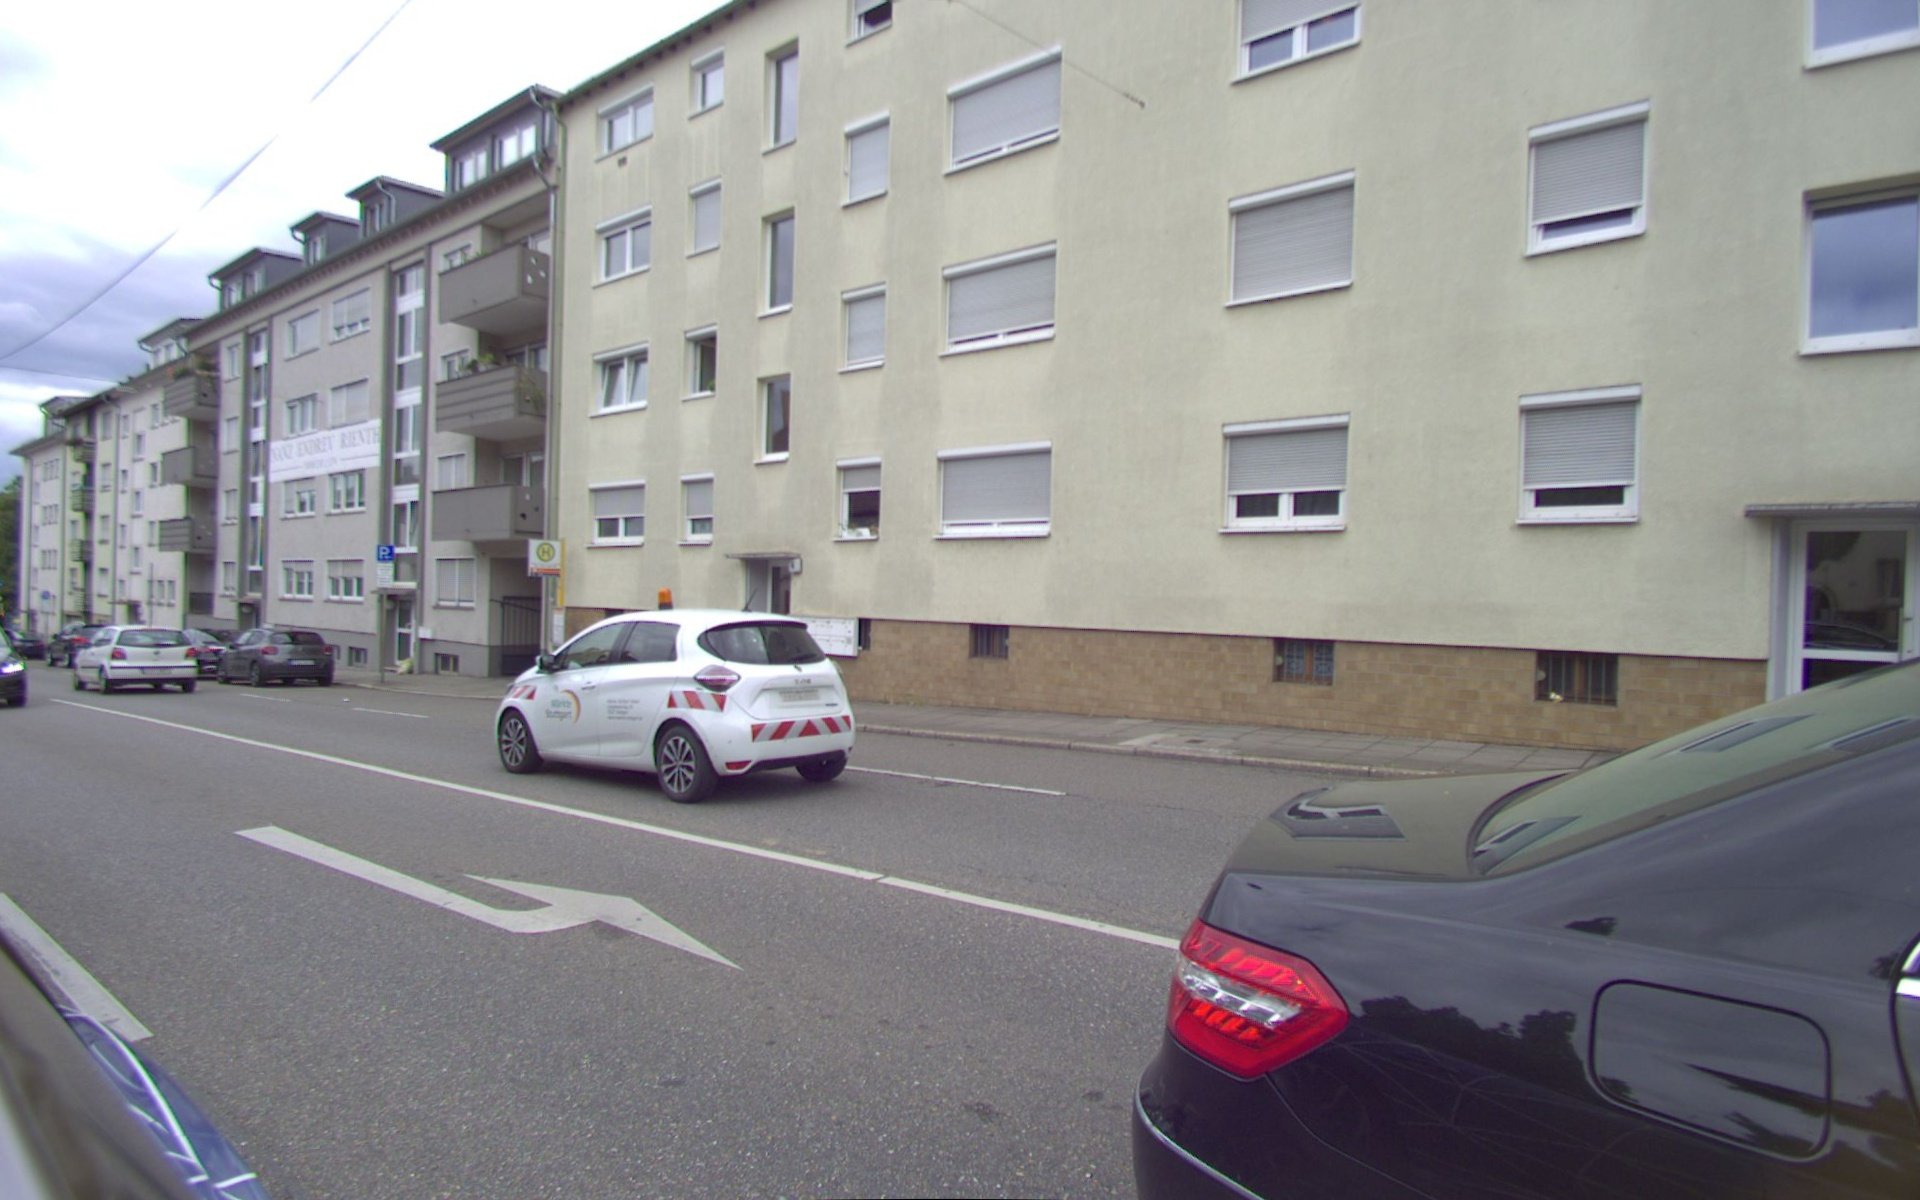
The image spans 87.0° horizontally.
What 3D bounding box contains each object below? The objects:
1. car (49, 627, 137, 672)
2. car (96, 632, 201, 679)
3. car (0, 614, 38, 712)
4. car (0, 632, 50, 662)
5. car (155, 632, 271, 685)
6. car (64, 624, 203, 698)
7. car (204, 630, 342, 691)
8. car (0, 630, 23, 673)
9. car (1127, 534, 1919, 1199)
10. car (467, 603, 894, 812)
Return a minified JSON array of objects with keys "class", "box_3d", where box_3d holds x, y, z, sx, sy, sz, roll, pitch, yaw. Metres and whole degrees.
[{"class":"car","box_3d":[-33.129,1.878,38.661,3.533,1.613,1.755,-1,-3,36]},{"class":"car","box_3d":[-26.228,1.758,32.683,3.533,1.414,1.755,-1,-3,36]},{"class":"car","box_3d":[-18.025,1.081,17.907,4.474,1.623,1.840,-1,0,38]},{"class":"car","box_3d":[-46.164,2.270,49.427,3.752,1.414,1.755,-1,-3,36]},{"class":"car","box_3d":[-21.441,1.646,29.019,3.533,1.386,1.649,-1,-3,36]},{"class":"car","box_3d":[-18.293,1.290,22.362,3.594,1.494,1.573,-1,-2,37]},{"class":"car","box_3d":[-17.657,1.512,25.990,3.680,1.422,1.755,-1,-3,36]},{"class":"car","box_3d":[-33.983,1.754,34.879,3.637,1.414,1.755,-1,-3,36]},{"class":"car","box_3d":[2.718,0.647,0.713,4.840,1.440,1.973,-1,-2,41]},{"class":"car","box_3d":[-2.712,0.833,9.383,4.078,1.533,1.753,-1,-2,39]}]
